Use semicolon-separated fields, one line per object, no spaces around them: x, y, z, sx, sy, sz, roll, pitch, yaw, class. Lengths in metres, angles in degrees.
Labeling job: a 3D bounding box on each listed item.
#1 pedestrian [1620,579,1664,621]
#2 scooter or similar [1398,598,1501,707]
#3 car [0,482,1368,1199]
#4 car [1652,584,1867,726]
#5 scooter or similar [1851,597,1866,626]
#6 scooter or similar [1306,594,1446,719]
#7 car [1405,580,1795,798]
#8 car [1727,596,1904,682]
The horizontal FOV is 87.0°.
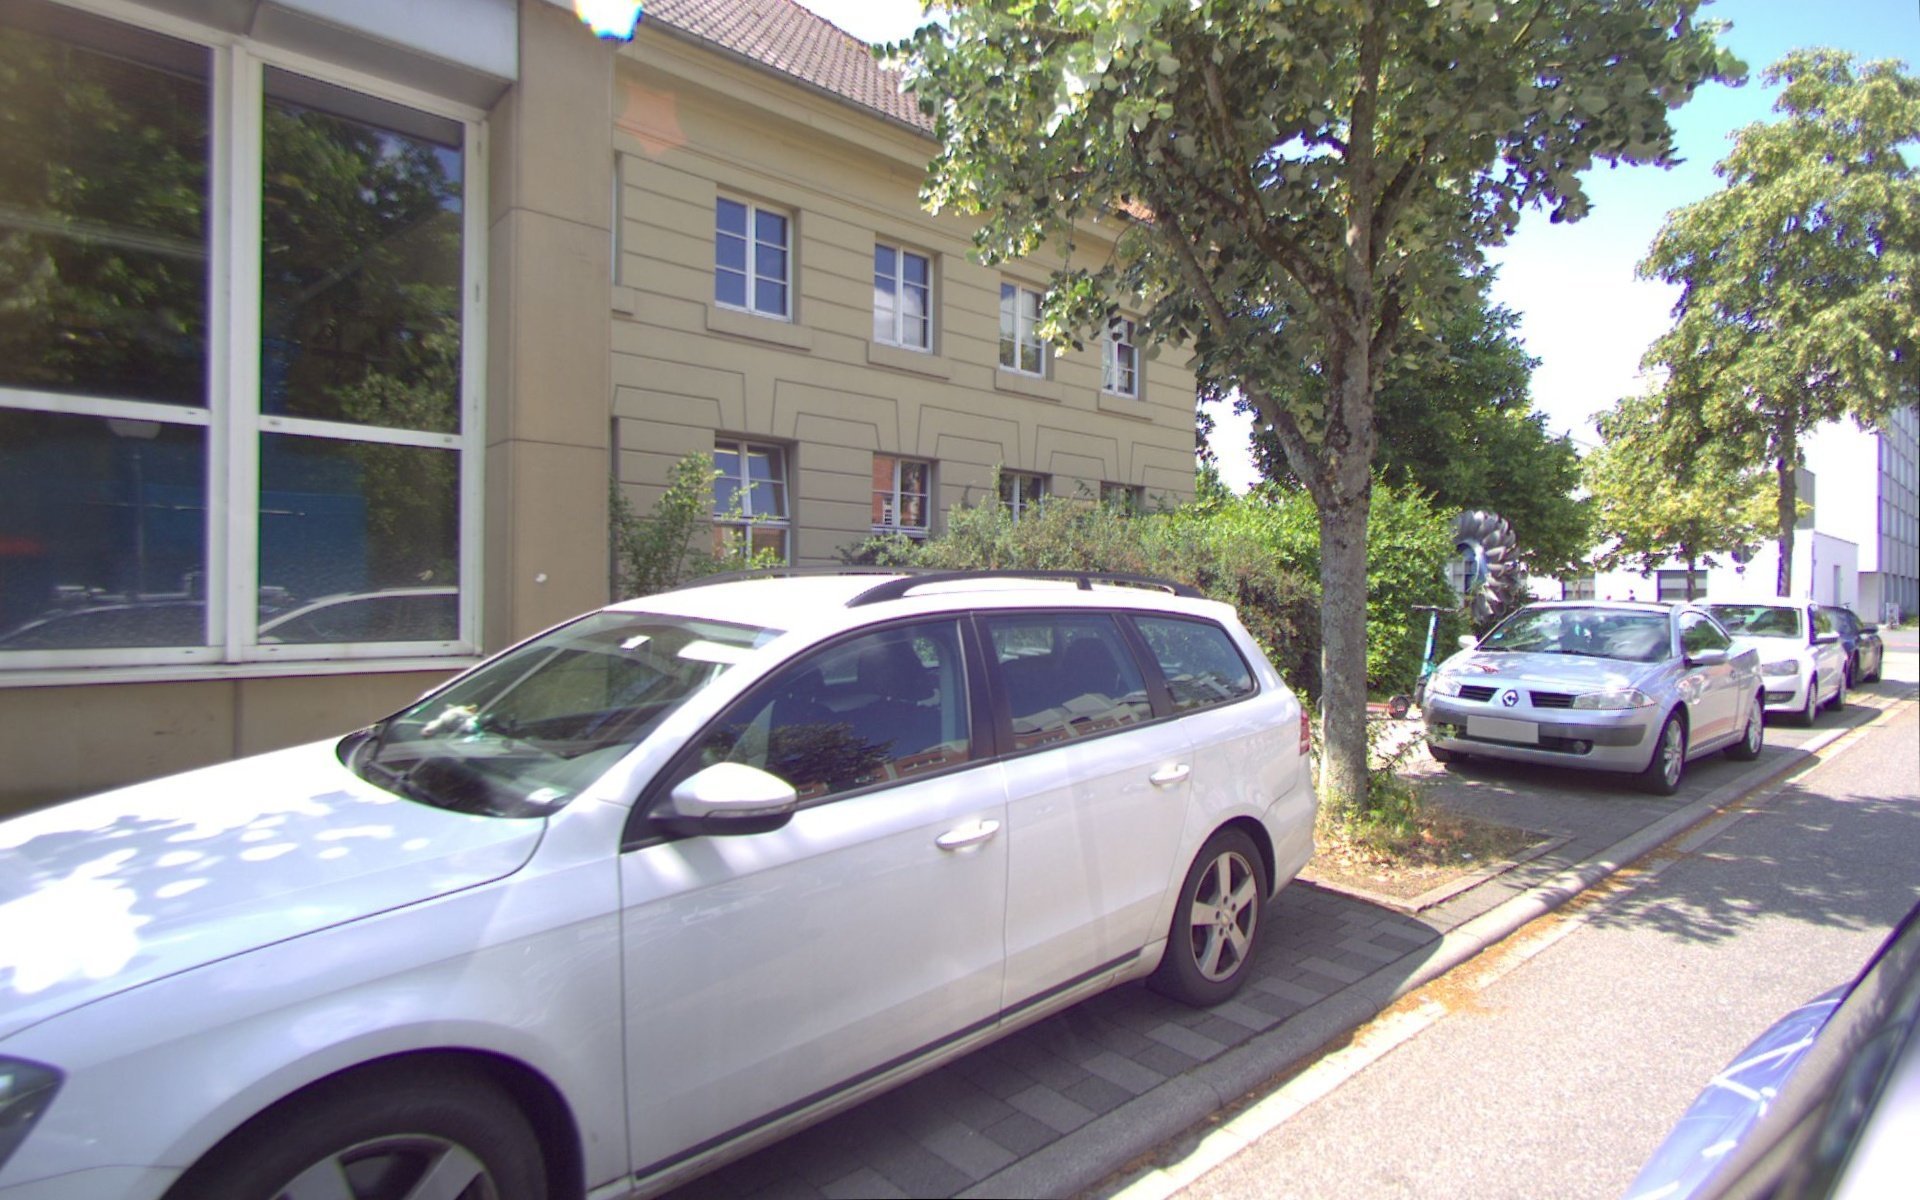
30.208;-0.013;44.851;1.000;1.822;1.174;2;1;-13;pedestrian
5.896;0.604;12.183;1.212;1.237;0.522;0;1;-31;scooter or similar
-0.602;0.563;3.173;4.593;1.485;1.727;0;1;-43;car
10.012;0.563;12.569;3.923;1.485;1.588;0;1;-44;car
38.313;0.490;43.145;1.054;1.251;0.327;0;0;-39;scooter or similar
4.523;0.598;11.044;1.241;1.283;0.597;2;0;-4;scooter or similar
5.507;0.571;8.519;3.918;1.408;1.650;0;1;-40;car
14.720;0.588;17.346;3.930;1.296;1.711;0;0;-41;car
